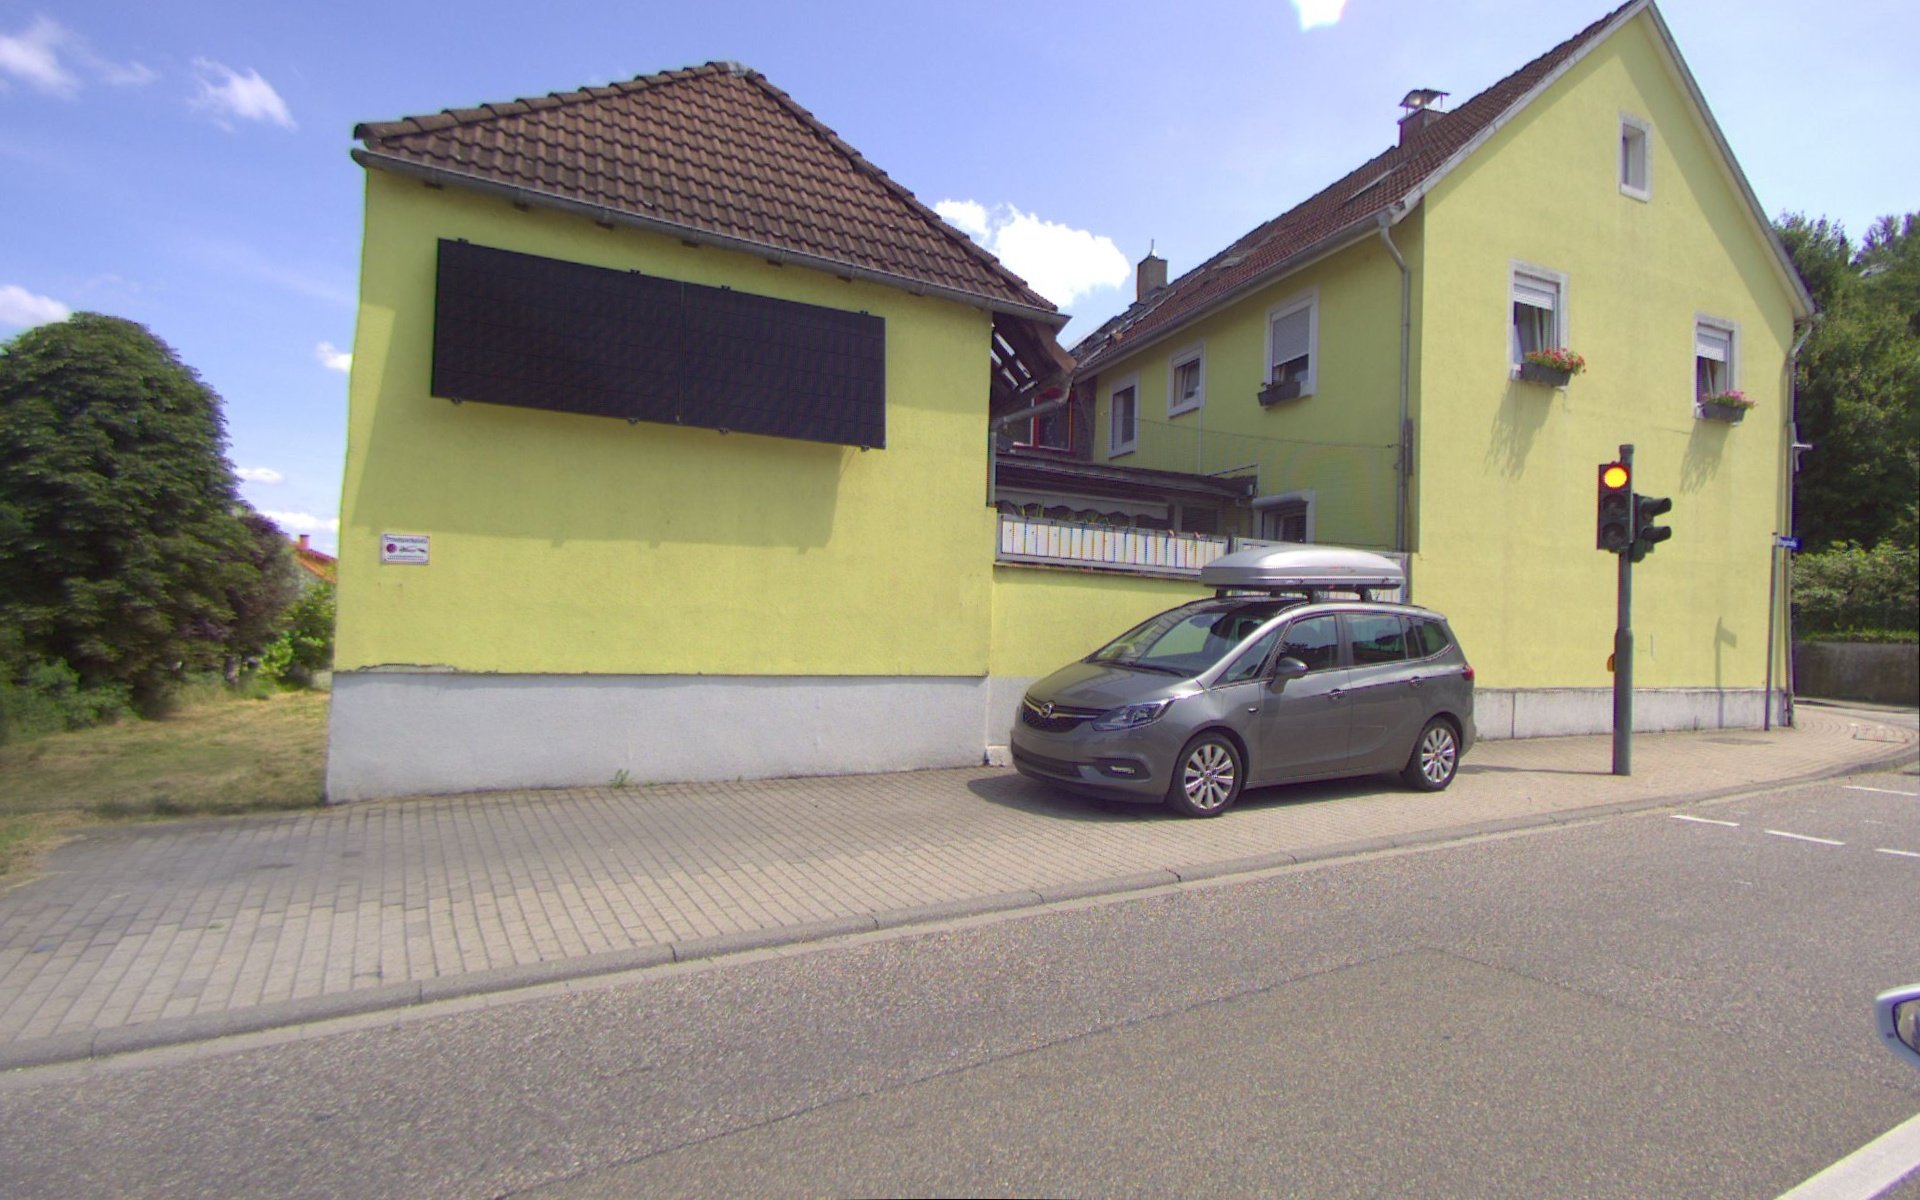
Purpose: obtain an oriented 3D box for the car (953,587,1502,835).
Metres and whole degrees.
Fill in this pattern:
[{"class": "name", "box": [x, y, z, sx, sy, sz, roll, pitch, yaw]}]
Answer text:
[{"class": "car", "box": [2.421, 0.797, 8.811, 4.575, 1.657, 1.984, 2, 1, -30]}]
